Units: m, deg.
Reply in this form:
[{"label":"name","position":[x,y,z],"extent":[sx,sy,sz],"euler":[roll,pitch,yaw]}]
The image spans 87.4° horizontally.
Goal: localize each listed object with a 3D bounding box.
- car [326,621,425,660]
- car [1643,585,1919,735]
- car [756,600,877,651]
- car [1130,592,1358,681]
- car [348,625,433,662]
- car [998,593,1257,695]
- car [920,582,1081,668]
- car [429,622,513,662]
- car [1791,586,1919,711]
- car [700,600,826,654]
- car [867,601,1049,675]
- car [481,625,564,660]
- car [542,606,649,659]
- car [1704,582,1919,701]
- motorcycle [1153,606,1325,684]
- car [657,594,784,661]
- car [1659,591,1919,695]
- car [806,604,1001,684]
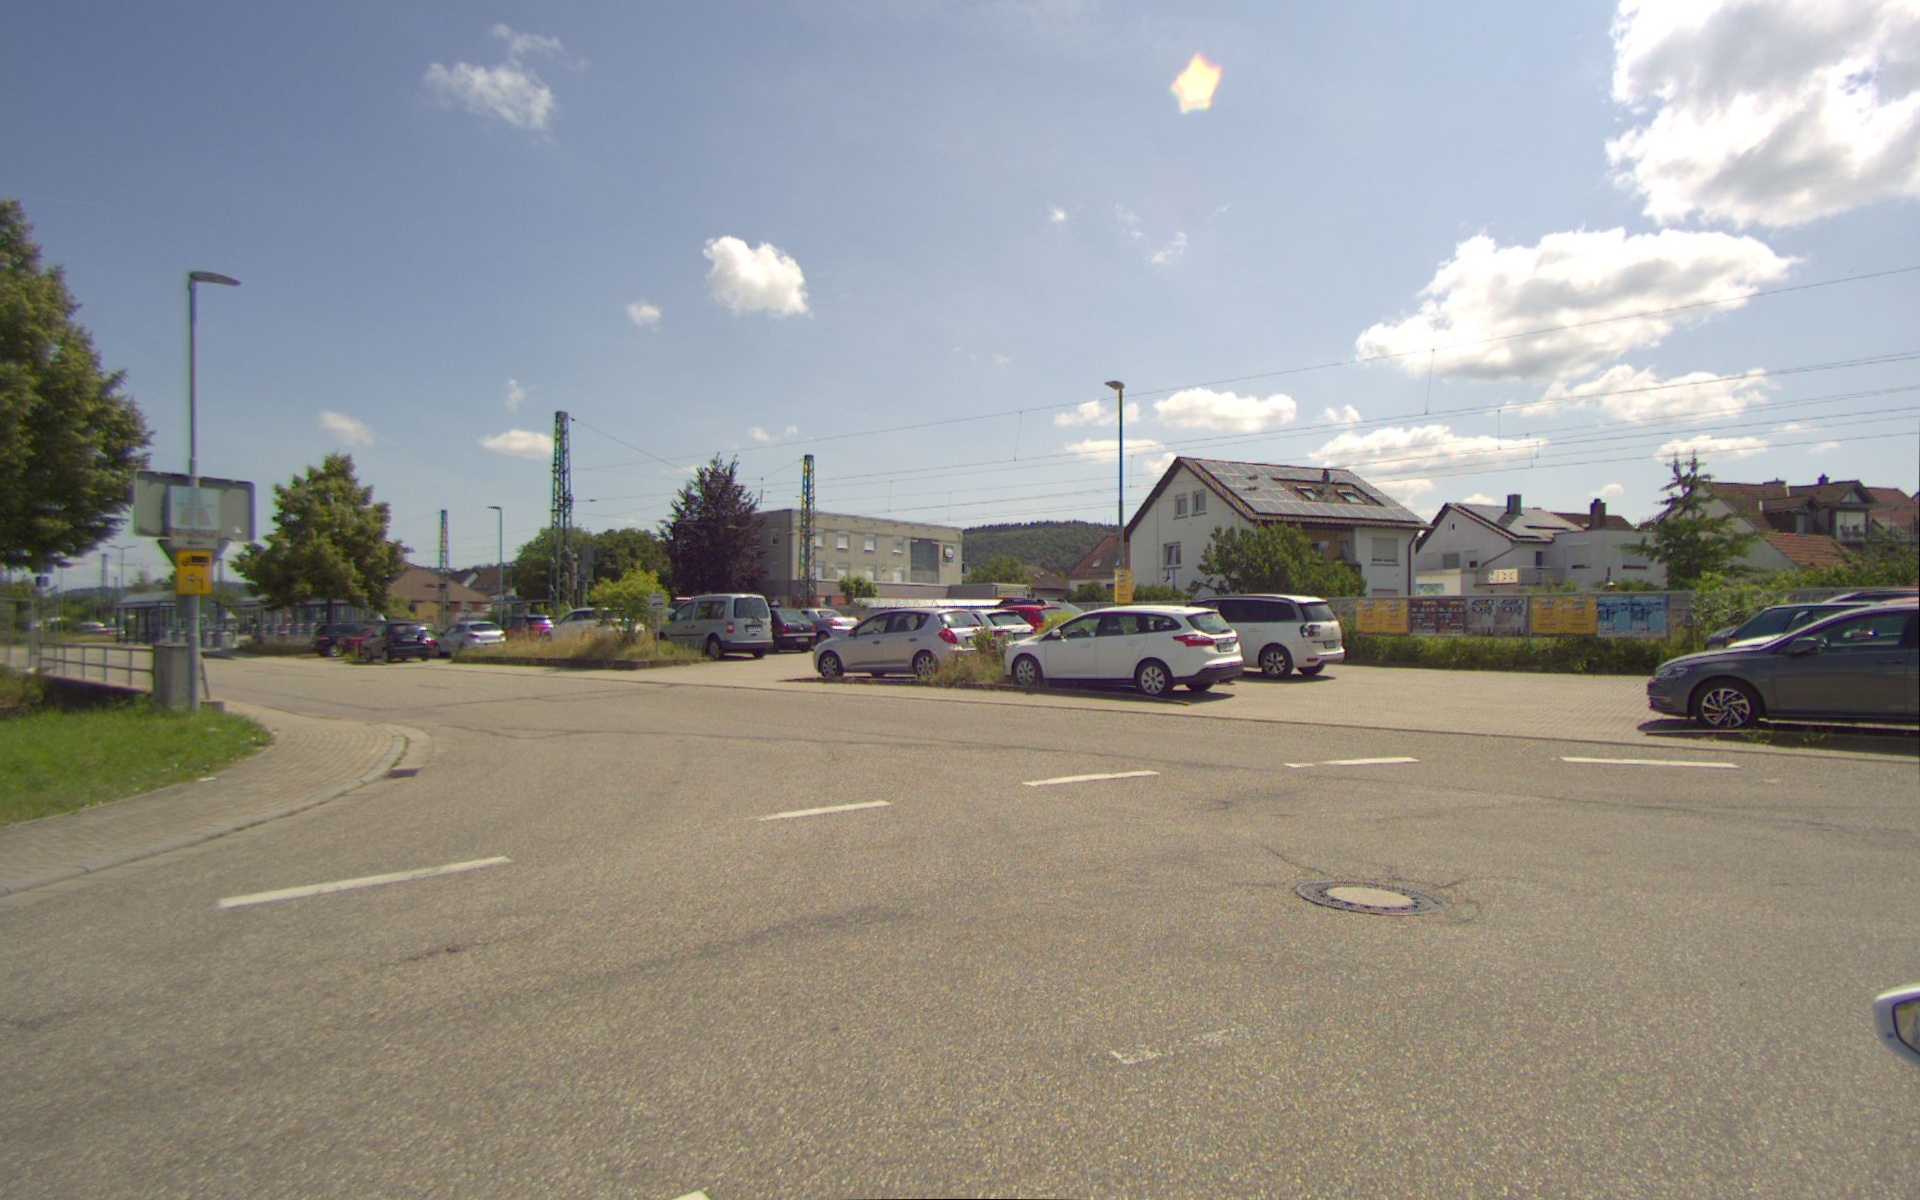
[{"label":"car","position":[-25.917,1.774,44.624],"extent":[1.621,1.613,3.431],"euler":[2,-1,32]},{"label":"car","position":[10.233,0.636,11.292],"extent":[4.007,1.551,1.680],"euler":[-1,-1,44]},{"label":"car","position":[-4.966,0.853,34.436],"extent":[4.212,1.630,1.943],"euler":[-1,-1,43]},{"label":"car","position":[5.922,0.719,21.262],"extent":[4.204,1.680,1.988],"euler":[-1,0,44]},{"label":"car","position":[-22.322,1.670,39.352],"extent":[3.939,1.367,1.602],"euler":[-1,-1,39]},{"label":"car","position":[2.870,0.729,17.713],"extent":[4.199,1.585,1.801],"euler":[-1,-1,40]},{"label":"car","position":[0.980,0.634,25.944],"extent":[3.944,2.040,1.841],"euler":[-1,-1,43]},{"label":"car","position":[-19.960,1.678,40.931],"extent":[3.939,1.542,1.602],"euler":[-1,-1,39]},{"label":"car","position":[12.933,0.607,12.768],"extent":[3.530,1.557,1.786],"euler":[-1,-1,44]},{"label":"car","position":[-6.412,0.857,32.473],"extent":[4.212,1.630,1.943],"euler":[-1,-1,43]},{"label":"car","position":[-0.117,0.864,23.695],"extent":[4.201,1.585,1.797],"euler":[-1,-1,42]},{"label":"car","position":[-18.470,1.752,42.364],"extent":[3.939,1.366,1.615],"euler":[-1,-1,39]},{"label":"car","position":[-12.564,1.097,34.532],"extent":[3.939,1.708,1.726],"euler":[-1,-2,39]},{"label":"car","position":[13.730,0.597,14.969],"extent":[4.031,1.659,1.988],"euler":[-1,-1,44]},{"label":"motorcycle","position":[5.232,0.829,19.111],"extent":[3.168,1.391,0.736],"euler":[-1,-1,42]},{"label":"car","position":[-7.141,0.809,29.784],"extent":[3.782,1.857,1.943],"euler":[-1,-1,43]},{"label":"car","position":[14.953,0.715,17.747],"extent":[4.030,1.659,1.988],"euler":[-1,-1,44]},{"label":"car","position":[-1.245,0.894,21.355],"extent":[3.895,1.564,1.790],"euler":[-1,-1,36]}]
